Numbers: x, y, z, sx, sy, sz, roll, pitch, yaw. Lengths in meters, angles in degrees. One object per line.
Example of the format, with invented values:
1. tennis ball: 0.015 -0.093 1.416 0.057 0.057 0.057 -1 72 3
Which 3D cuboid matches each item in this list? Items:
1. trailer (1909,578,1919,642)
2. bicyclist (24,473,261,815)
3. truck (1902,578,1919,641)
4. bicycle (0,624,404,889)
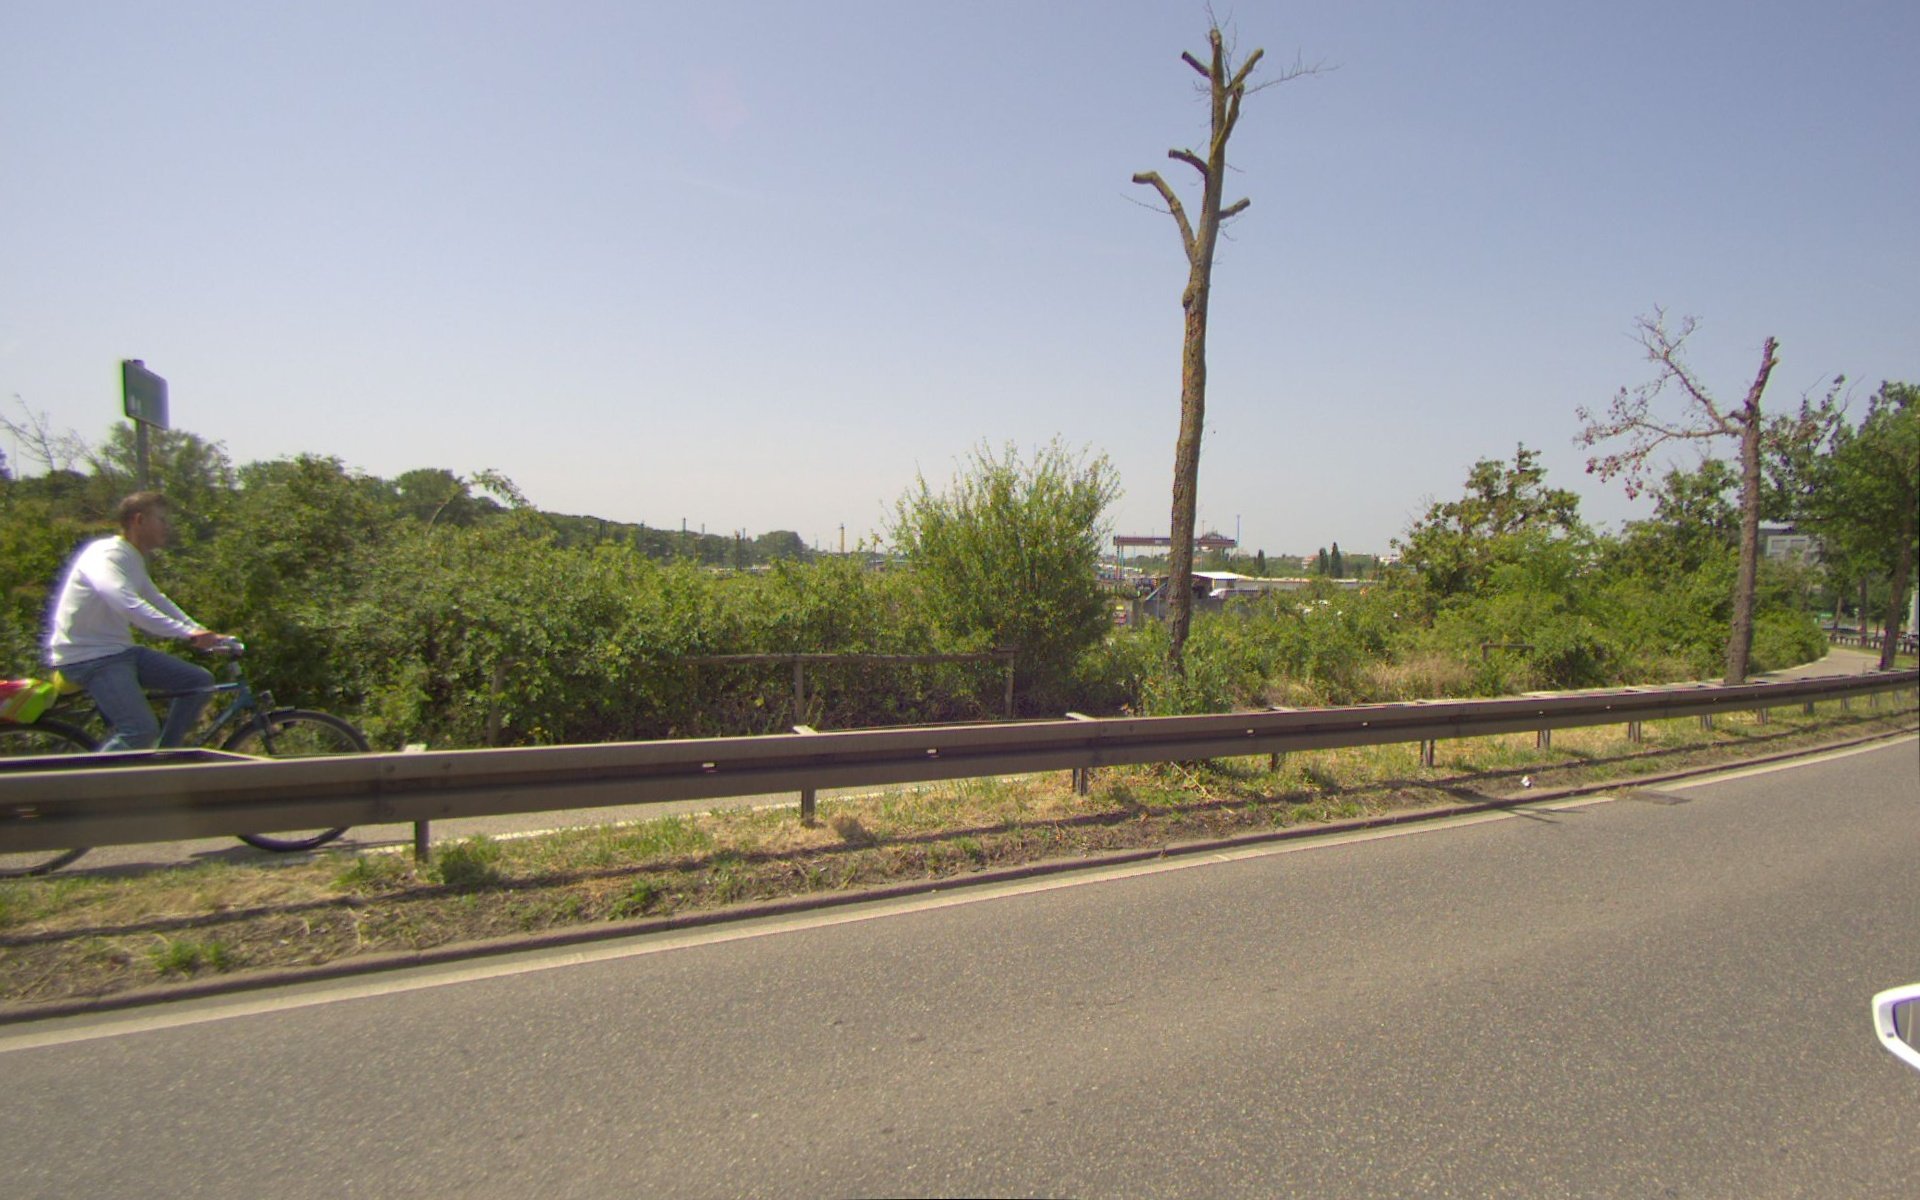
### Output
1. trailer: 65.929 0.737 66.296 3.039 4.427 14.715 3 2 37
2. bicyclist: -3.931 0.204 4.903 0.816 1.485 0.724 1 -2 -36
3. truck: 70.662 0.718 72.539 3.037 4.427 6.054 3 2 37
4. bicycle: -3.916 0.689 4.898 2.026 1.131 0.729 1 -2 -36
